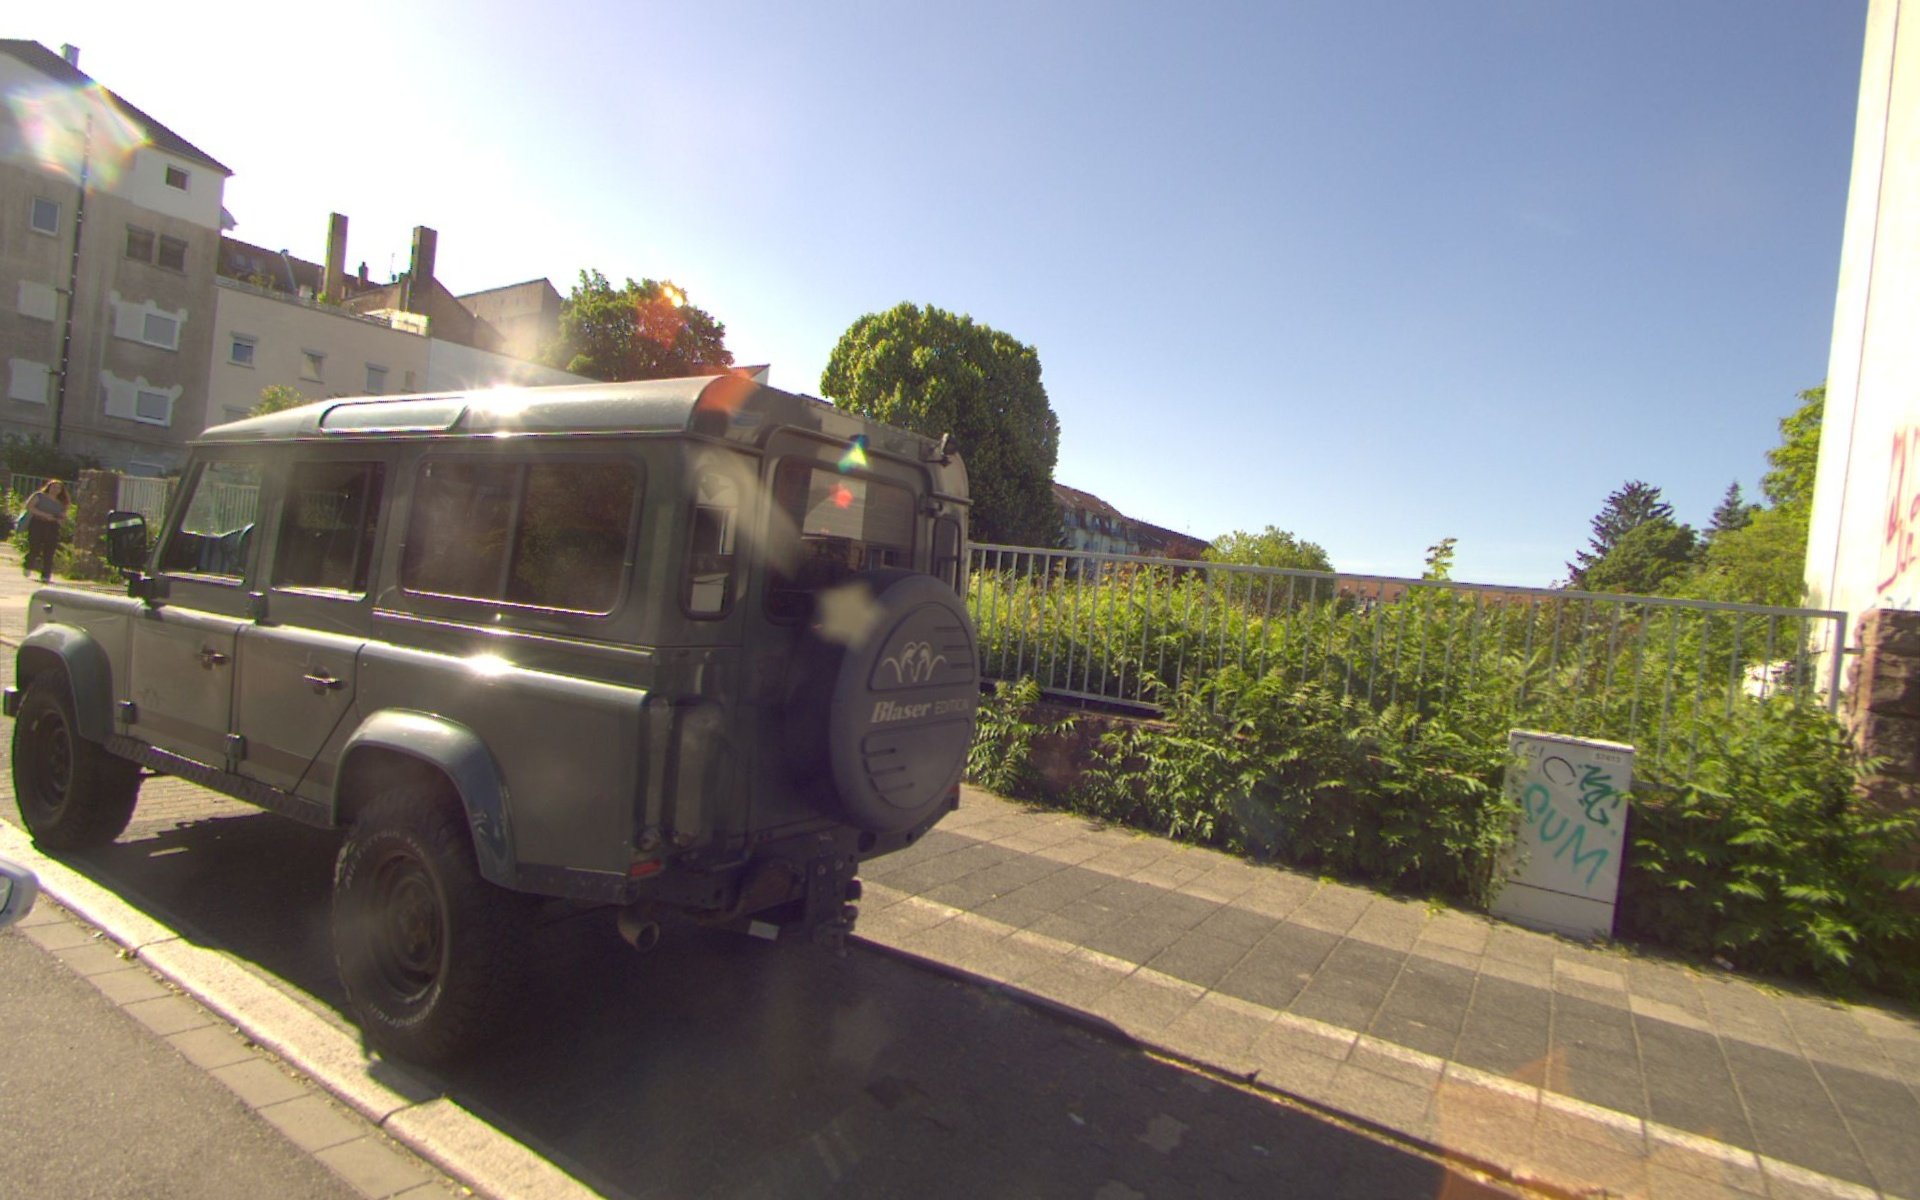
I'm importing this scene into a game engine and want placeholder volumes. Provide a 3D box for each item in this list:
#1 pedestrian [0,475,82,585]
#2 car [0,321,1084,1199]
[{"bbox_3d":[-14.588,-1.098,15.919,0.882,1.604,0.743,7,2,32],"label":"pedestrian"},{"bbox_3d":[-2.061,0.223,4.197,4.697,2.040,1.661,6,1,32],"label":"car"}]
